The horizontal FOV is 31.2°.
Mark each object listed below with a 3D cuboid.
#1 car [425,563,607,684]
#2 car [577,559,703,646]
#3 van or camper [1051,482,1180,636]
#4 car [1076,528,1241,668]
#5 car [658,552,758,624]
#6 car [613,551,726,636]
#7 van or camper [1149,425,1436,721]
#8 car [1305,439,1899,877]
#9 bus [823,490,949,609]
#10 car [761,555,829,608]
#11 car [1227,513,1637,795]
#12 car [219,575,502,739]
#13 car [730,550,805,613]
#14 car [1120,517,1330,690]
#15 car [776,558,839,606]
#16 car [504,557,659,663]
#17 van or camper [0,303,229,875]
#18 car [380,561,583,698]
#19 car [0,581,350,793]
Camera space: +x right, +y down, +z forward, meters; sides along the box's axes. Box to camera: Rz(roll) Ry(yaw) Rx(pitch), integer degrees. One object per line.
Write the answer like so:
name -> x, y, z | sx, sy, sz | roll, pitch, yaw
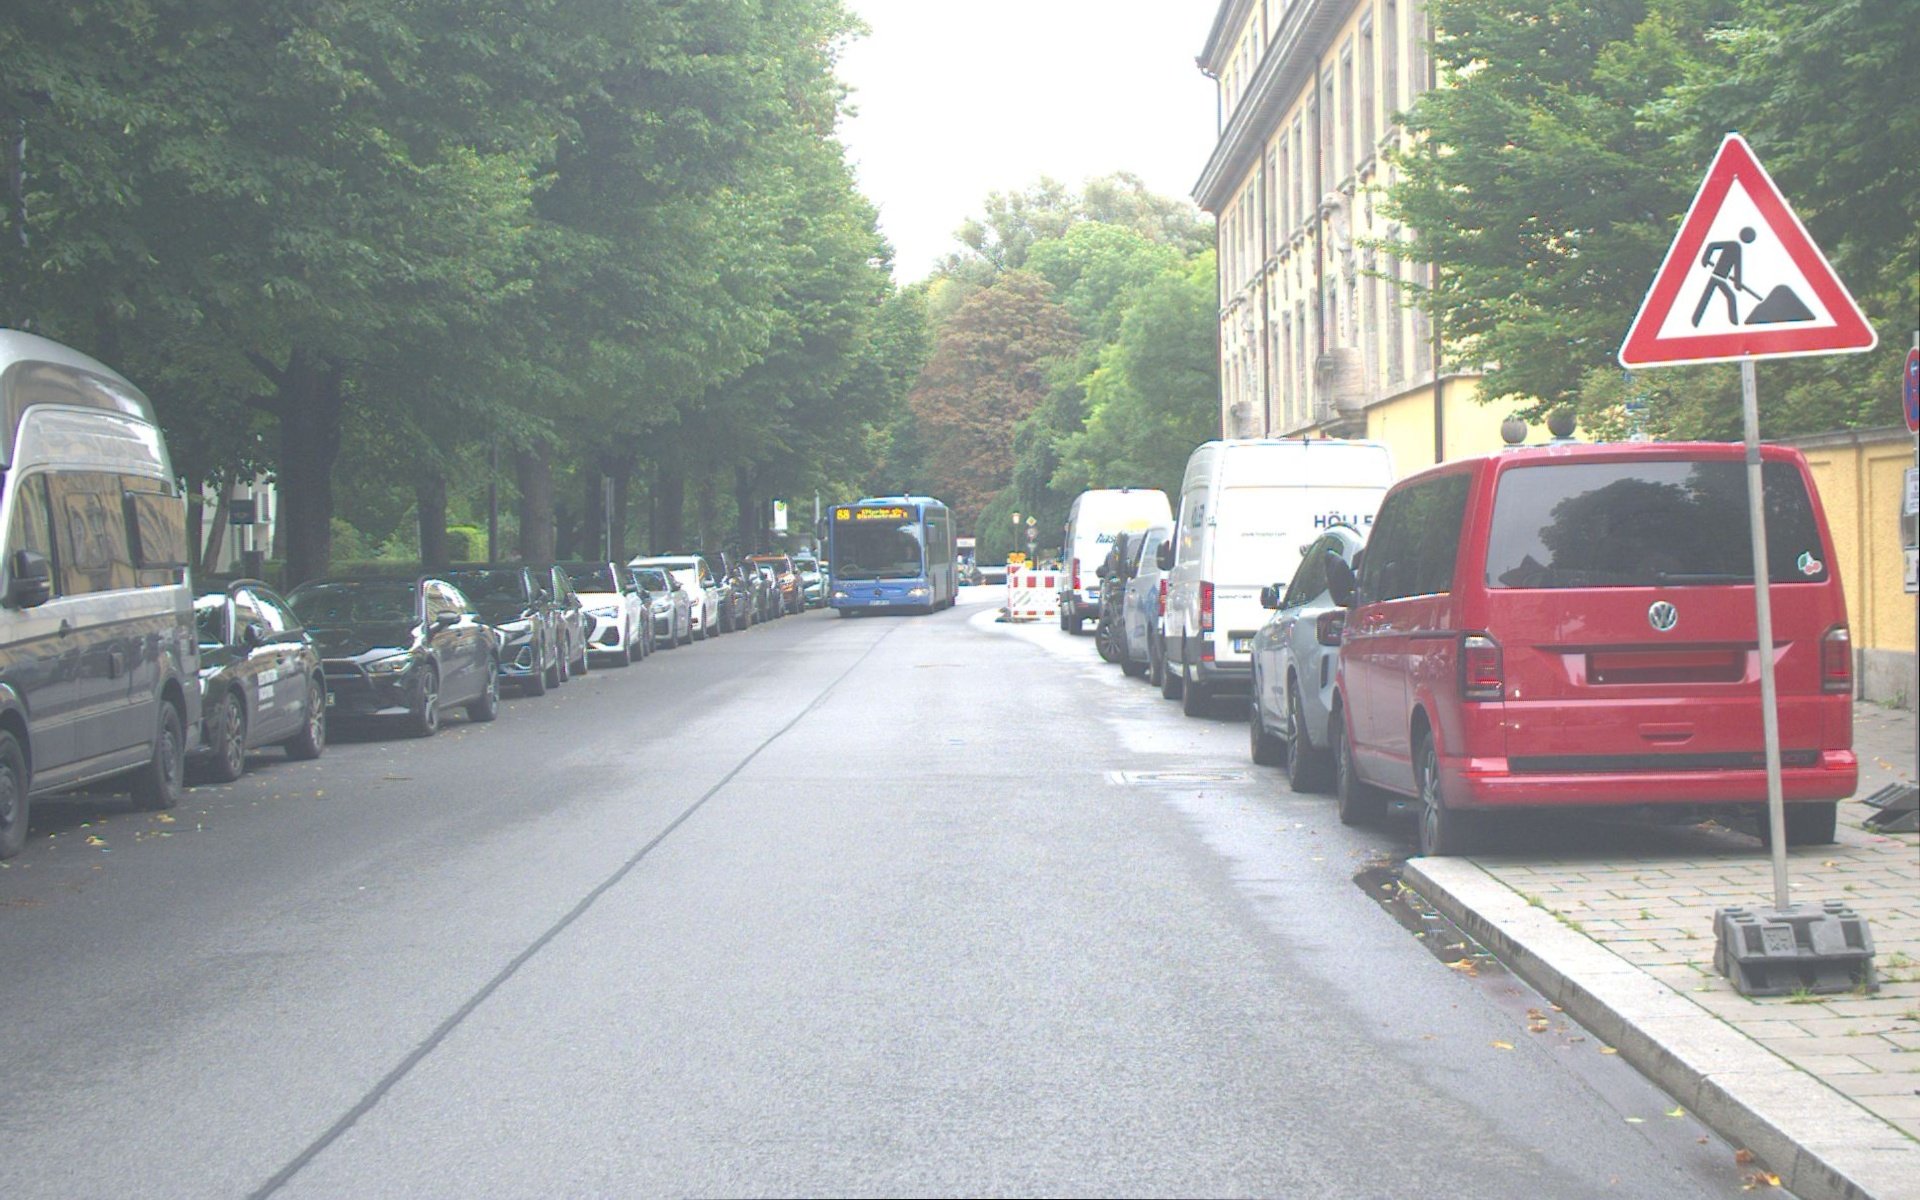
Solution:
car -> -5.793, 0.270, 45.285 | 1.852, 1.468, 4.000 | -1, 1, 0
car -> -5.681, 0.019, 61.345 | 1.852, 1.468, 4.000 | -1, 1, 0
van or camper -> 2.891, -0.782, 64.996 | 2.115, 2.723, 5.243 | -2, 1, 0
car -> 2.784, -0.059, 49.110 | 1.991, 1.838, 4.322 | -2, 1, -1
car -> -5.387, -0.273, 73.906 | 1.852, 1.468, 4.000 | -1, 1, 0
car -> -5.634, -0.153, 67.058 | 1.852, 1.558, 4.000 | -1, 1, 0
van or camper -> 3.081, -0.277, 32.978 | 2.132, 2.537, 5.243 | -2, 1, 0
car -> 3.035, 0.219, 17.333 | 1.991, 1.832, 4.714 | -2, 1, -1
bus -> -1.863, -1.371, 92.865 | 2.713, 2.889, 14.554 | -1, 1, 1
car -> -5.009, -0.578, 104.800 | 1.852, 1.566, 4.000 | -1, 1, 0
car -> 2.975, 0.290, 22.597 | 1.991, 1.603, 4.322 | -2, 1, -1
car -> -5.418, 0.473, 31.530 | 1.874, 1.343, 4.000 | -1, 1, 0
car -> -5.353, -0.532, 96.075 | 1.852, 1.695, 4.000 | -1, 1, 0
car -> 3.034, 0.011, 40.180 | 1.991, 1.838, 4.322 | -2, 1, -1
car -> -4.901, -0.594, 110.808 | 1.852, 1.468, 4.000 | -1, 1, 0
car -> -5.594, 0.113, 51.233 | 1.852, 1.468, 4.000 | -1, 1, 0
van or camper -> -5.938, -0.070, 19.992 | 2.001, 2.935, 6.011 | -2, 1, 0
car -> -5.532, 0.304, 40.176 | 1.852, 1.468, 4.000 | -1, 1, -1
car -> -5.914, 0.599, 25.985 | 1.874, 1.412, 4.000 | -1, 1, 0
